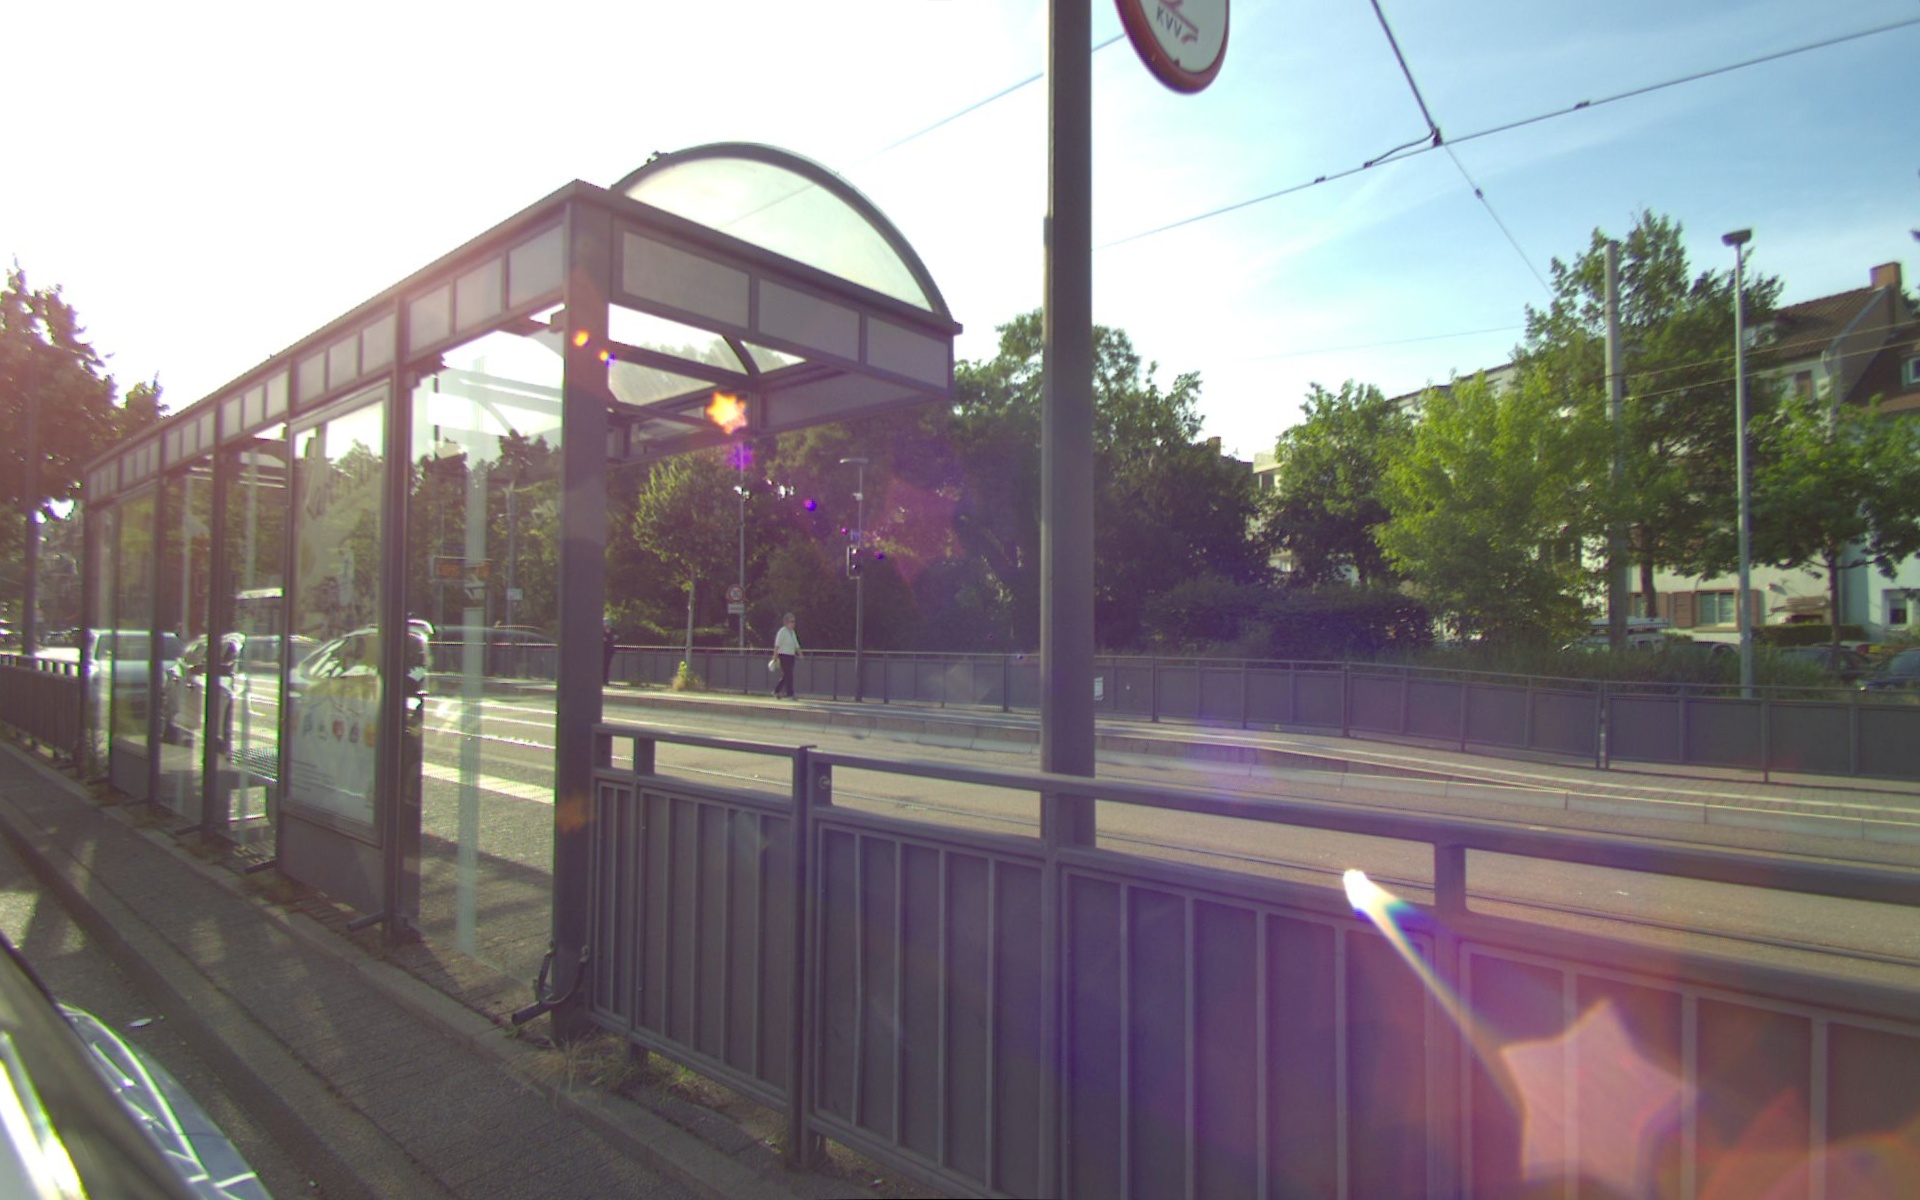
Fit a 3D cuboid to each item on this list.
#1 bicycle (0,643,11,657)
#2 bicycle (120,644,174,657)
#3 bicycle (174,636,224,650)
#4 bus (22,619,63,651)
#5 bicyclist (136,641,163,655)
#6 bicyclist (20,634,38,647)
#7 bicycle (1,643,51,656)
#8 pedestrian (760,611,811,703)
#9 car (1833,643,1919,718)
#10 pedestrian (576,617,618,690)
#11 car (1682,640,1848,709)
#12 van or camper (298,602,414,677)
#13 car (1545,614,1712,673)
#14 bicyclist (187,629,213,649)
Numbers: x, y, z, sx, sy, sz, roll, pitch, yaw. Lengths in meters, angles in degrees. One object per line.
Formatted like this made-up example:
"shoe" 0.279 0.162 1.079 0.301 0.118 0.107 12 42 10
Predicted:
"bicycle" -65.447 3.355 67.913 0.631 0.888 2.502 -2 -3 45
"bicycle" -59.138 3.665 73.630 0.878 0.988 2.925 -2 -3 38
"bicycle" -58.778 3.323 78.222 0.878 0.988 2.925 -2 -3 38
"bus" -102.743 3.867 113.246 9.258 3.461 2.405 -1 0 41
"bicyclist" -59.047 3.498 73.730 0.887 1.014 1.384 -2 -3 39
"bicyclist" -65.317 2.820 71.021 0.884 0.920 0.617 3 -3 -45
"bicycle" -65.432 3.441 70.904 2.502 0.888 0.631 3 -3 -45
"pedestrian" -3.297 1.077 19.123 0.618 1.697 0.613 -2 -6 41
"car" 19.641 1.595 20.606 3.935 1.409 2.004 2 -3 -37
"pedestrian" -8.733 1.293 24.341 0.618 1.697 0.613 -2 -6 41
"car" 18.189 1.618 22.833 3.935 1.409 2.004 2 -3 -37
"van or camper" -26.260 1.621 43.891 6.408 2.990 2.494 -1 0 41
"car" 18.100 1.189 27.430 3.930 1.497 1.854 1 -3 -22
"bicyclist" -58.752 3.010 78.229 0.887 1.559 1.384 -2 -3 39
